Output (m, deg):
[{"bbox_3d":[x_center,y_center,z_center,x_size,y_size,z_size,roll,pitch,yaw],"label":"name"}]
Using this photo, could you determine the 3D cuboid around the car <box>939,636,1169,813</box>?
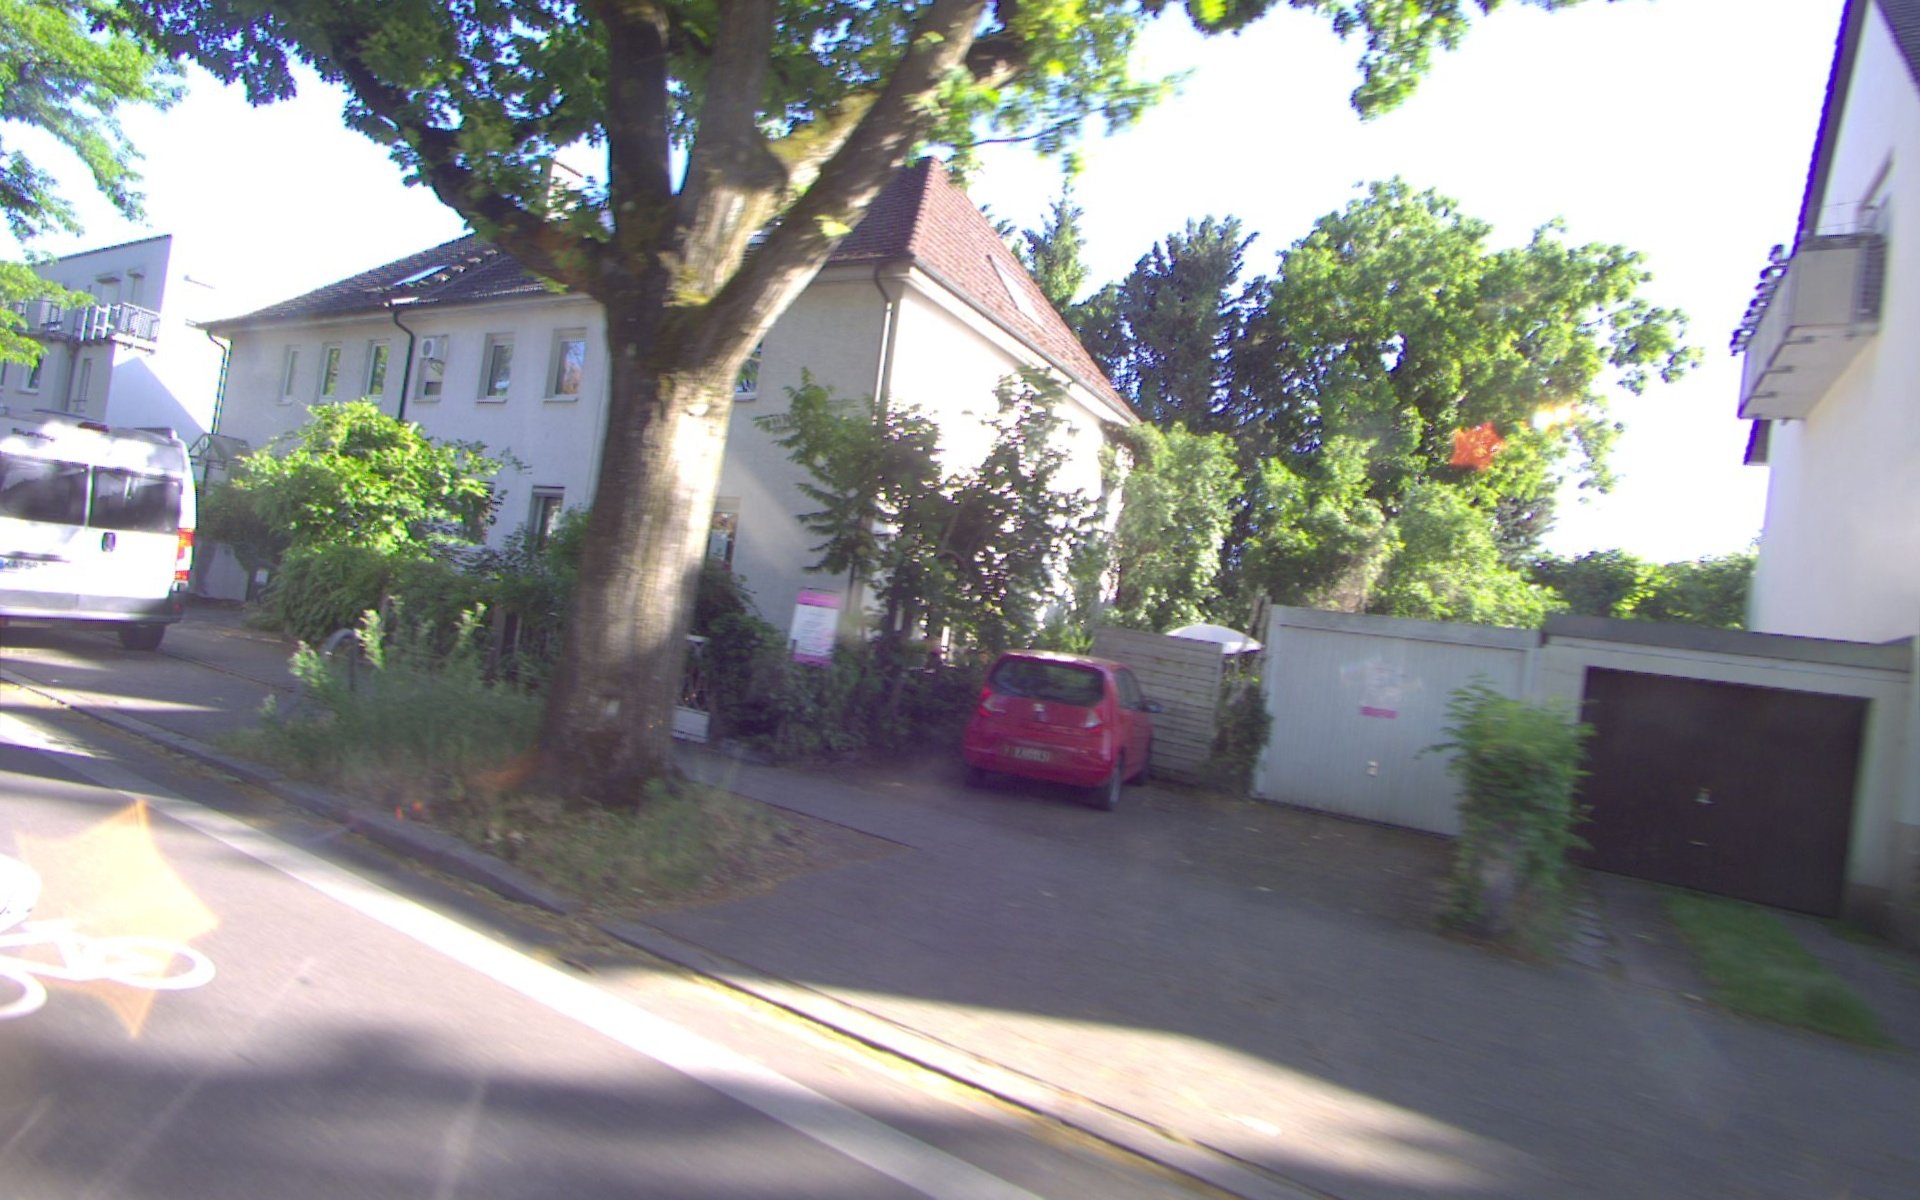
[{"bbox_3d":[1.211,1.322,11.280,1.702,1.452,3.413,7,-3,19],"label":"car"}]

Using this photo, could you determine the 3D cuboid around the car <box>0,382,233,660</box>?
[{"bbox_3d":[-11.434,-1.003,12.068,5.492,2.686,2.249,7,0,31],"label":"car"}]
